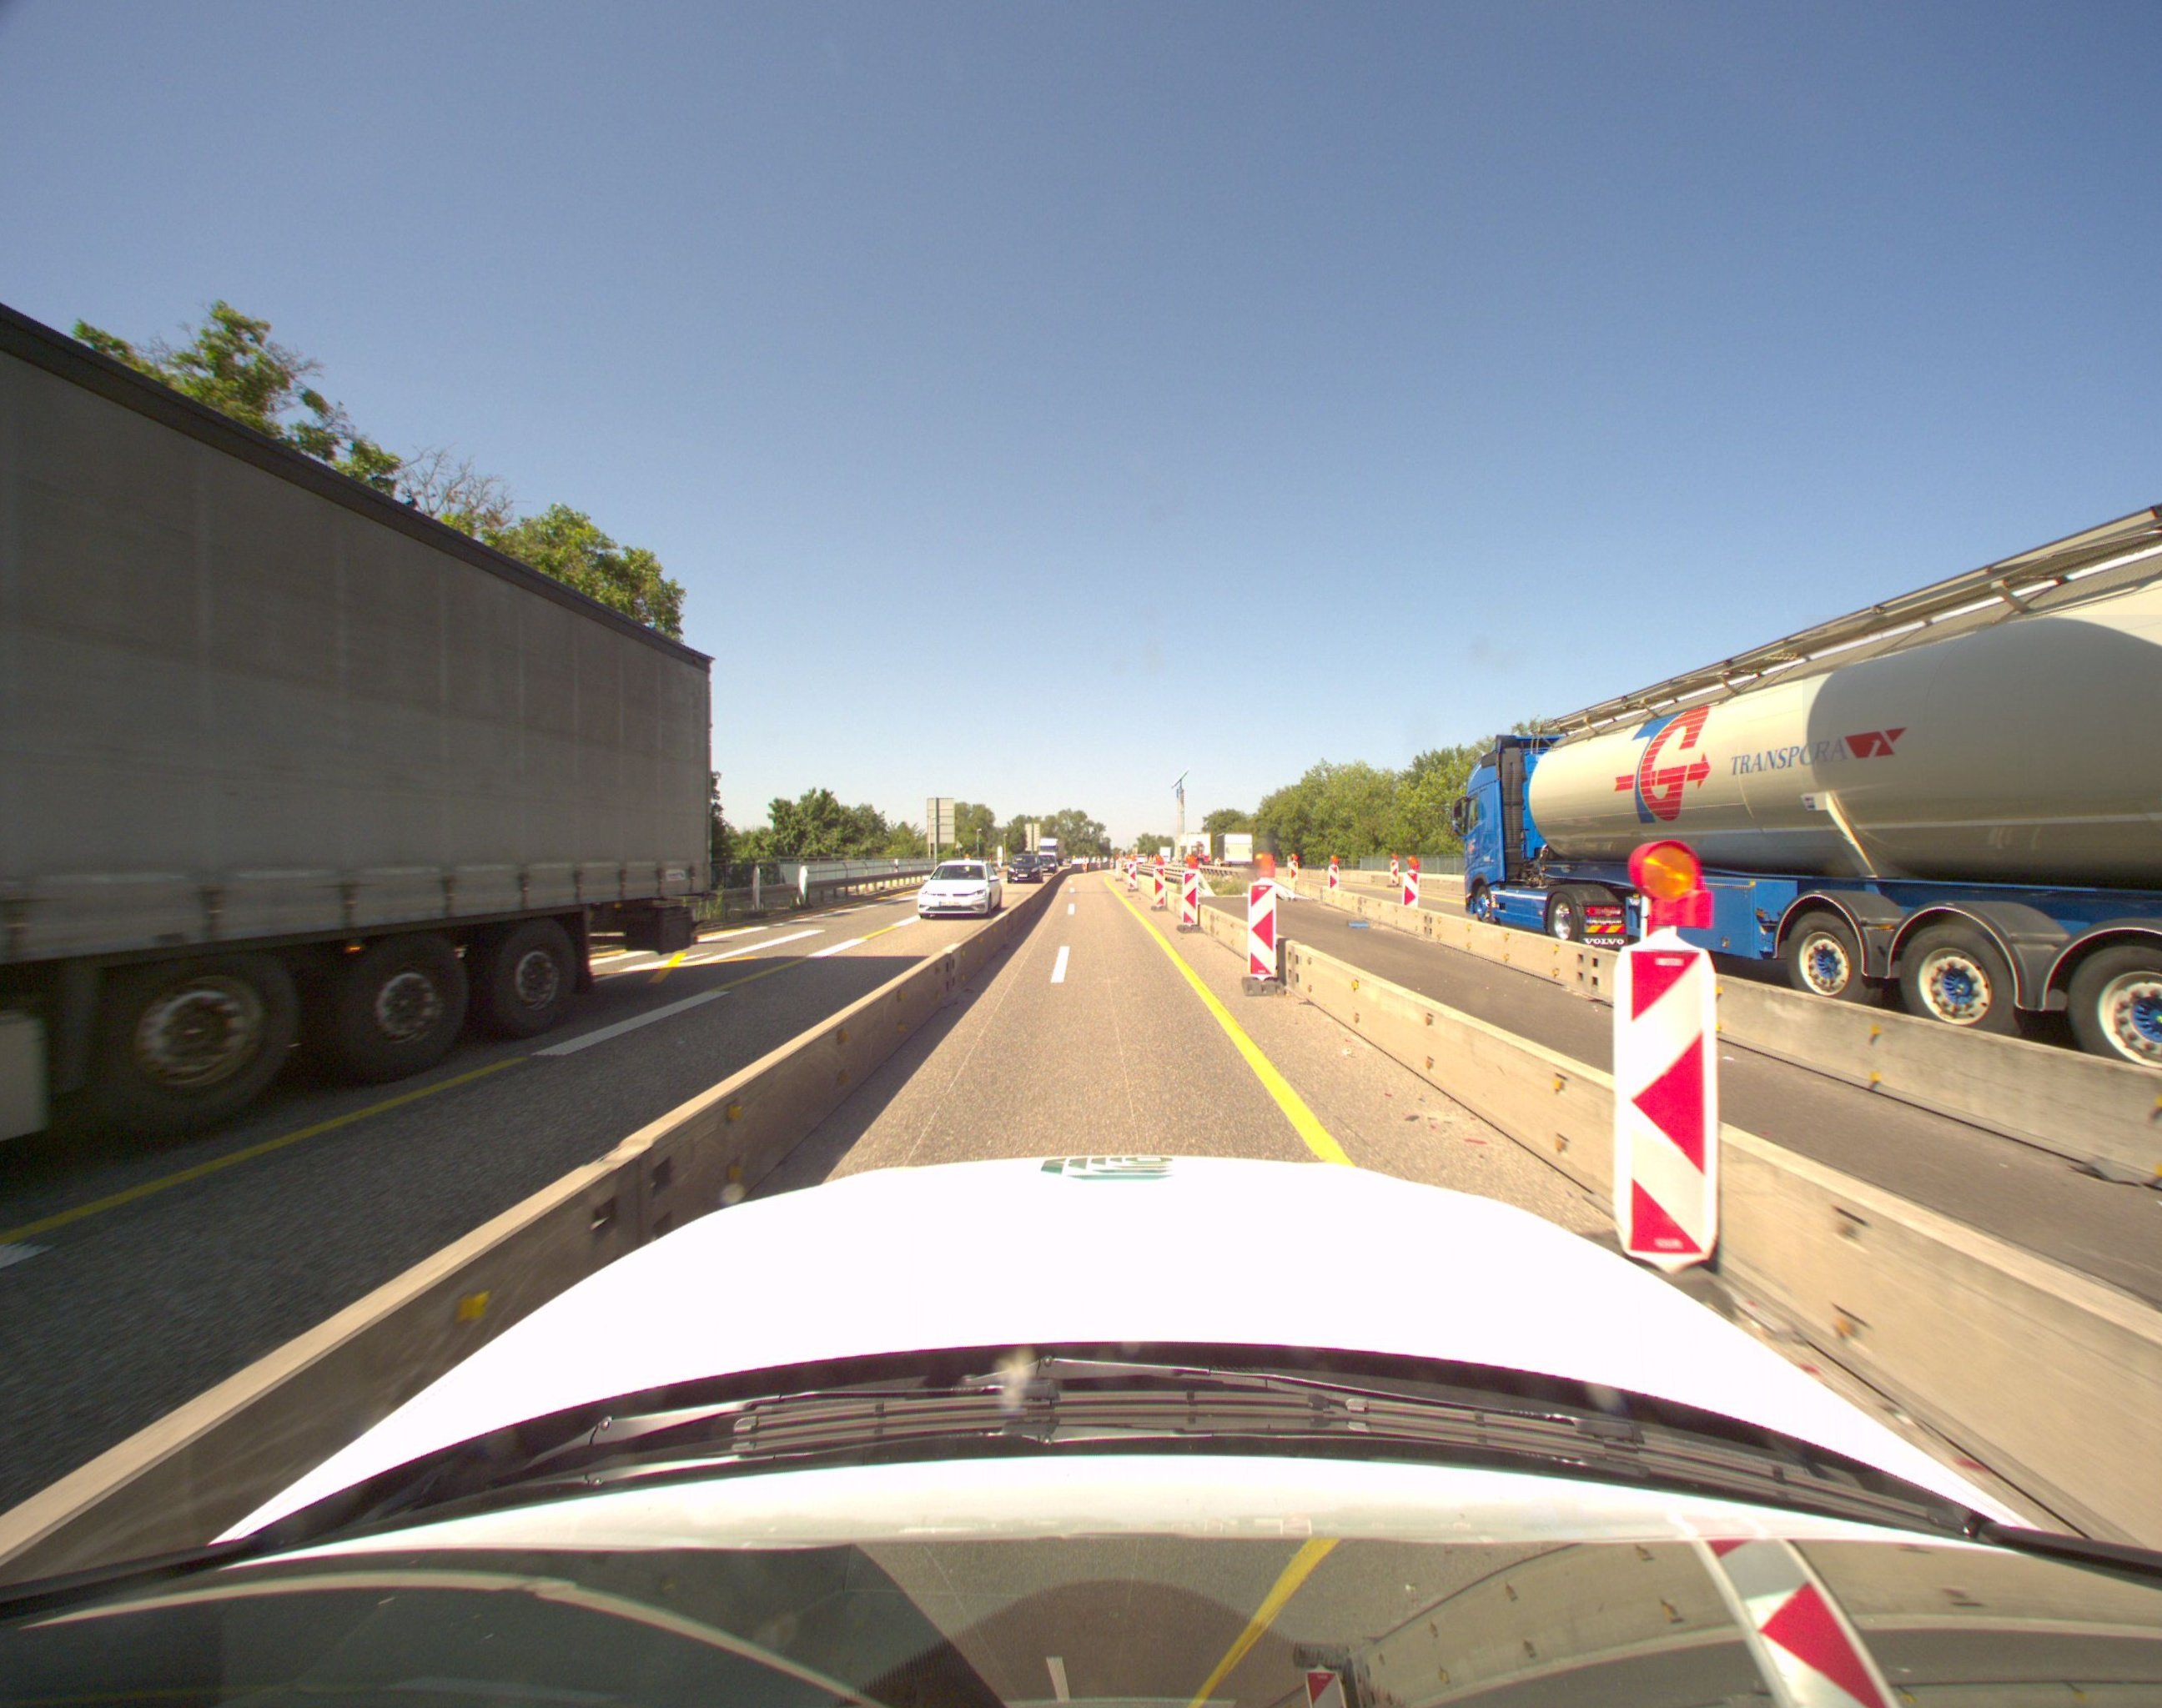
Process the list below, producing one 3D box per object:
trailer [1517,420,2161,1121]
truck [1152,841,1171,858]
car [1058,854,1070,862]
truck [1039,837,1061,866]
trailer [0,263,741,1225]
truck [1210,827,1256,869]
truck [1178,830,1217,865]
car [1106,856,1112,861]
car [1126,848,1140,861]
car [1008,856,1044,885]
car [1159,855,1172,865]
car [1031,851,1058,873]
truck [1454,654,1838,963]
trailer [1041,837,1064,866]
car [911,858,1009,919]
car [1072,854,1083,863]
[{"bbox_3d":[8.297,-0.500,8.307,2.678,4.137,12.646,-1,0,9],"label":"trailer"},{"bbox_3d":[21.031,-1.074,212.947,4.203,4.266,10.247,-1,0,2],"label":"truck"},{"bbox_3d":[-3.233,0.692,154.992,1.925,1.508,4.471,0,0,2],"label":"car"},{"bbox_3d":[-4.418,-0.332,117.823,2.740,4.136,6.416,-1,0,1],"label":"truck"},{"bbox_3d":[-5.923,-0.449,3.530,2.793,4.042,13.473,-1,0,2],"label":"trailer"},{"bbox_3d":[13.047,-0.499,70.484,2.625,3.427,7.233,-1,0,0],"label":"truck"},{"bbox_3d":[13.119,-0.666,92.042,3.377,3.774,7.232,-1,0,0],"label":"truck"},{"bbox_3d":[8.238,1.242,237.271,1.730,1.476,4.649,-1,0,3],"label":"car"},{"bbox_3d":[7.670,0.084,121.152,1.810,1.776,4.000,-1,0,0],"label":"car"},{"bbox_3d":[-3.030,0.877,45.549,1.732,1.552,3.943,0,0,1],"label":"car"},{"bbox_3d":[15.510,1.186,150.089,1.987,1.776,4.000,-1,0,0],"label":"car"},{"bbox_3d":[-2.809,0.573,63.700,1.856,1.632,4.567,0,0,1],"label":"car"},{"bbox_3d":[9.247,-0.573,14.625,2.678,4.102,7.318,-1,0,9],"label":"truck"},{"bbox_3d":[-4.291,-0.324,124.901,2.751,4.136,14.532,-1,0,1],"label":"trailer"},{"bbox_3d":[-3.096,0.838,21.626,1.807,1.417,4.155,-1,0,2],"label":"car"},{"bbox_3d":[-0.525,0.747,137.731,1.784,1.568,3.872,-1,0,0],"label":"car"}]
